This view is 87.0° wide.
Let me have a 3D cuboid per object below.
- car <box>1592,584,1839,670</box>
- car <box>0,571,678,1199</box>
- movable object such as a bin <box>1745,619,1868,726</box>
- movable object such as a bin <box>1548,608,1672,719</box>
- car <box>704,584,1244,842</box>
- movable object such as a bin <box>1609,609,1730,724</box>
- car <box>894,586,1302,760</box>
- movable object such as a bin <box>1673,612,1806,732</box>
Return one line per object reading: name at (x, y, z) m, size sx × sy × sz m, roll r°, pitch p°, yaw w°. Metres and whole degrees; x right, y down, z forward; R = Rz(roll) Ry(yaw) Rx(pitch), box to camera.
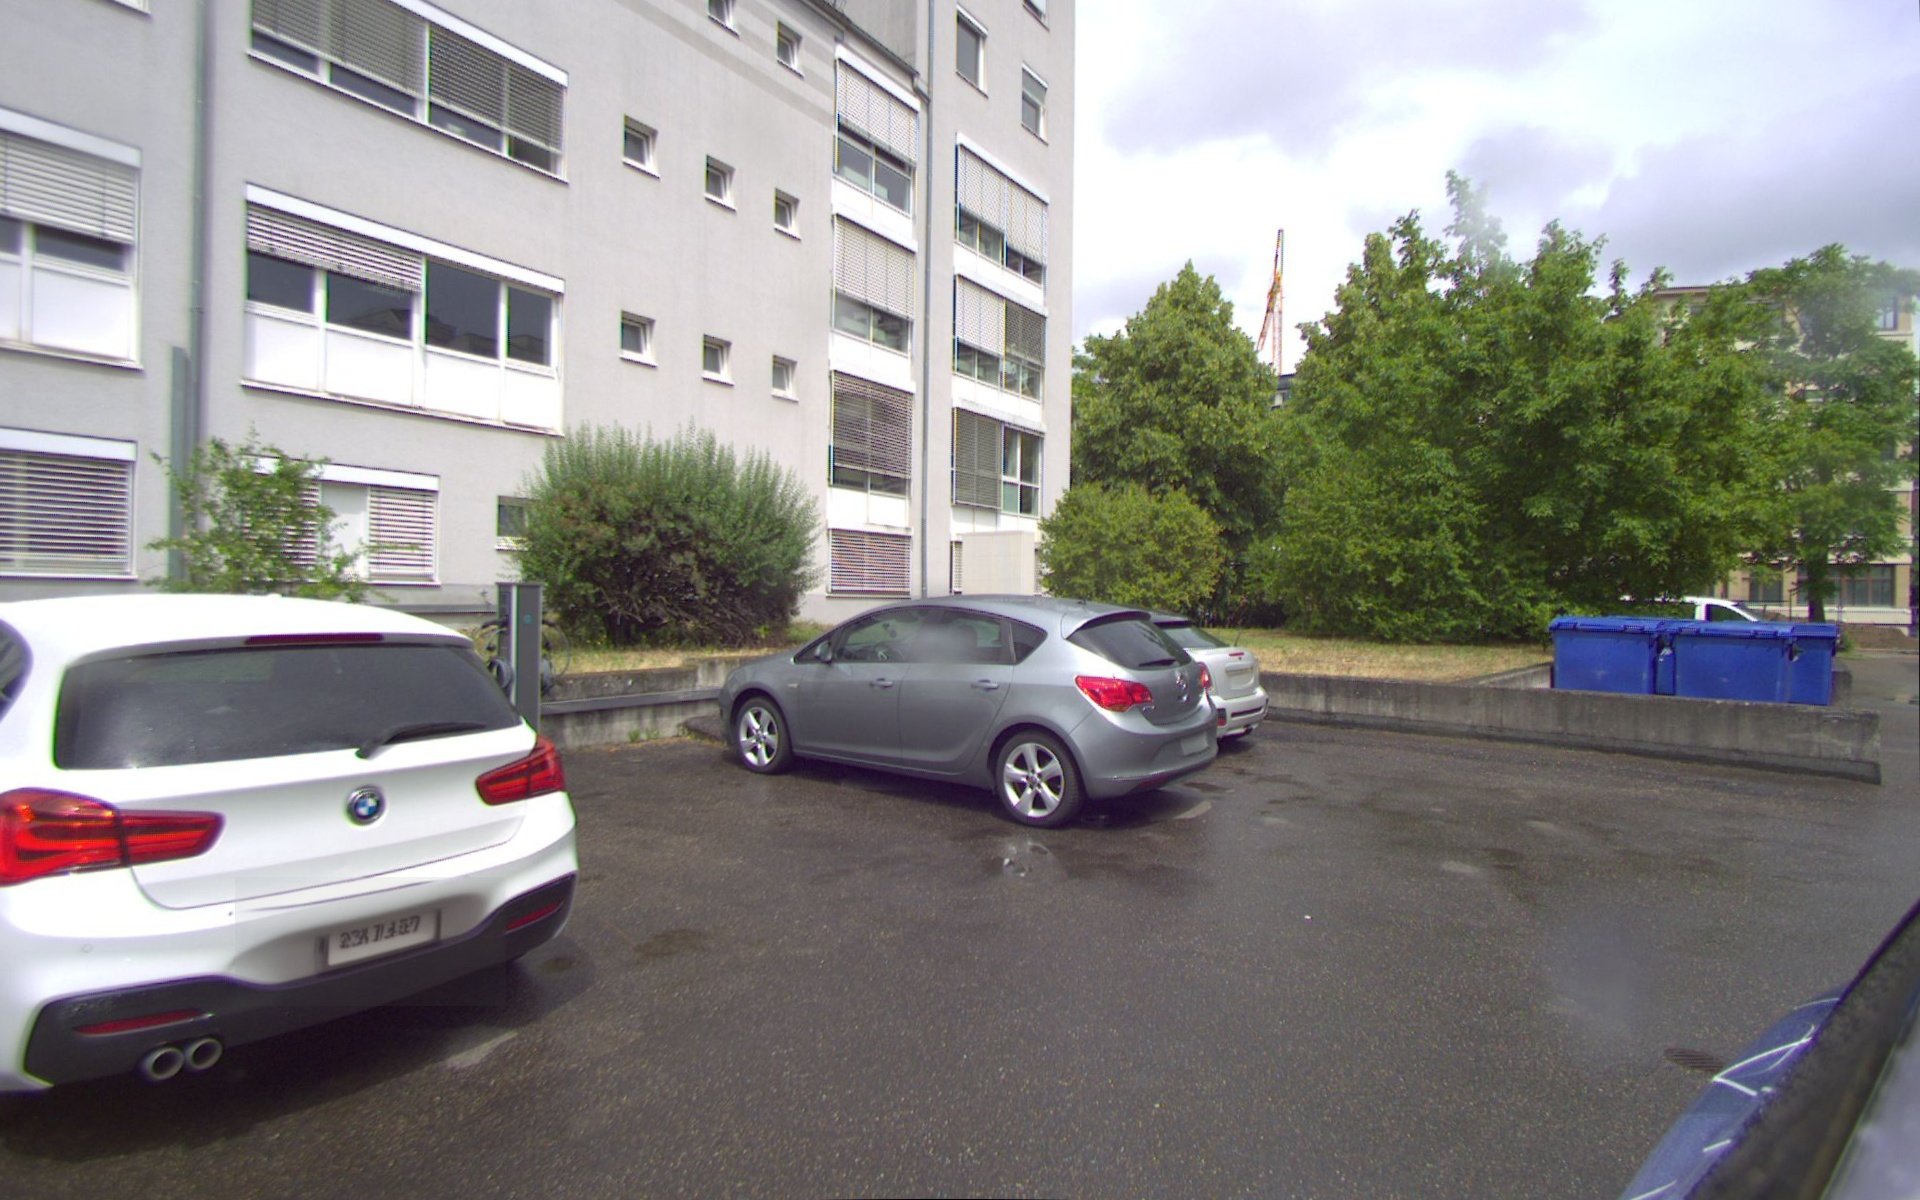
car at (19.478, 0.634, 26.254) m, size 4.937 × 2.039 × 1.968 m, roll 0°, pitch 0°, yaw 44°
car at (-3.147, 0.651, 3.989) m, size 4.088 × 1.473 × 1.809 m, roll 2°, pitch 1°, yaw 37°
movable object such as a bin at (11.128, 0.918, 13.338) m, size 1.172 × 1.334 × 1.040 m, roll -1°, pitch -2°, yaw 40°
movable object such as a bin at (8.504, 0.798, 13.233) m, size 1.228 × 1.334 × 1.040 m, roll 1°, pitch -1°, yaw 40°
car at (-0.043, 0.646, 7.935) m, size 4.070 × 1.476 × 1.646 m, roll 2°, pitch 2°, yaw 37°
movable object such as a bin at (9.873, 0.896, 14.089) m, size 1.273 × 1.502 × 1.085 m, roll -1°, pitch -2°, yaw 40°
car at (1.347, 0.625, 10.817) m, size 3.983 × 1.371 × 1.765 m, roll 3°, pitch 2°, yaw 40°
movable object such as a bin at (9.522, 0.838, 12.370) m, size 1.228 × 1.334 × 1.040 m, roll 1°, pitch -1°, yaw 40°
